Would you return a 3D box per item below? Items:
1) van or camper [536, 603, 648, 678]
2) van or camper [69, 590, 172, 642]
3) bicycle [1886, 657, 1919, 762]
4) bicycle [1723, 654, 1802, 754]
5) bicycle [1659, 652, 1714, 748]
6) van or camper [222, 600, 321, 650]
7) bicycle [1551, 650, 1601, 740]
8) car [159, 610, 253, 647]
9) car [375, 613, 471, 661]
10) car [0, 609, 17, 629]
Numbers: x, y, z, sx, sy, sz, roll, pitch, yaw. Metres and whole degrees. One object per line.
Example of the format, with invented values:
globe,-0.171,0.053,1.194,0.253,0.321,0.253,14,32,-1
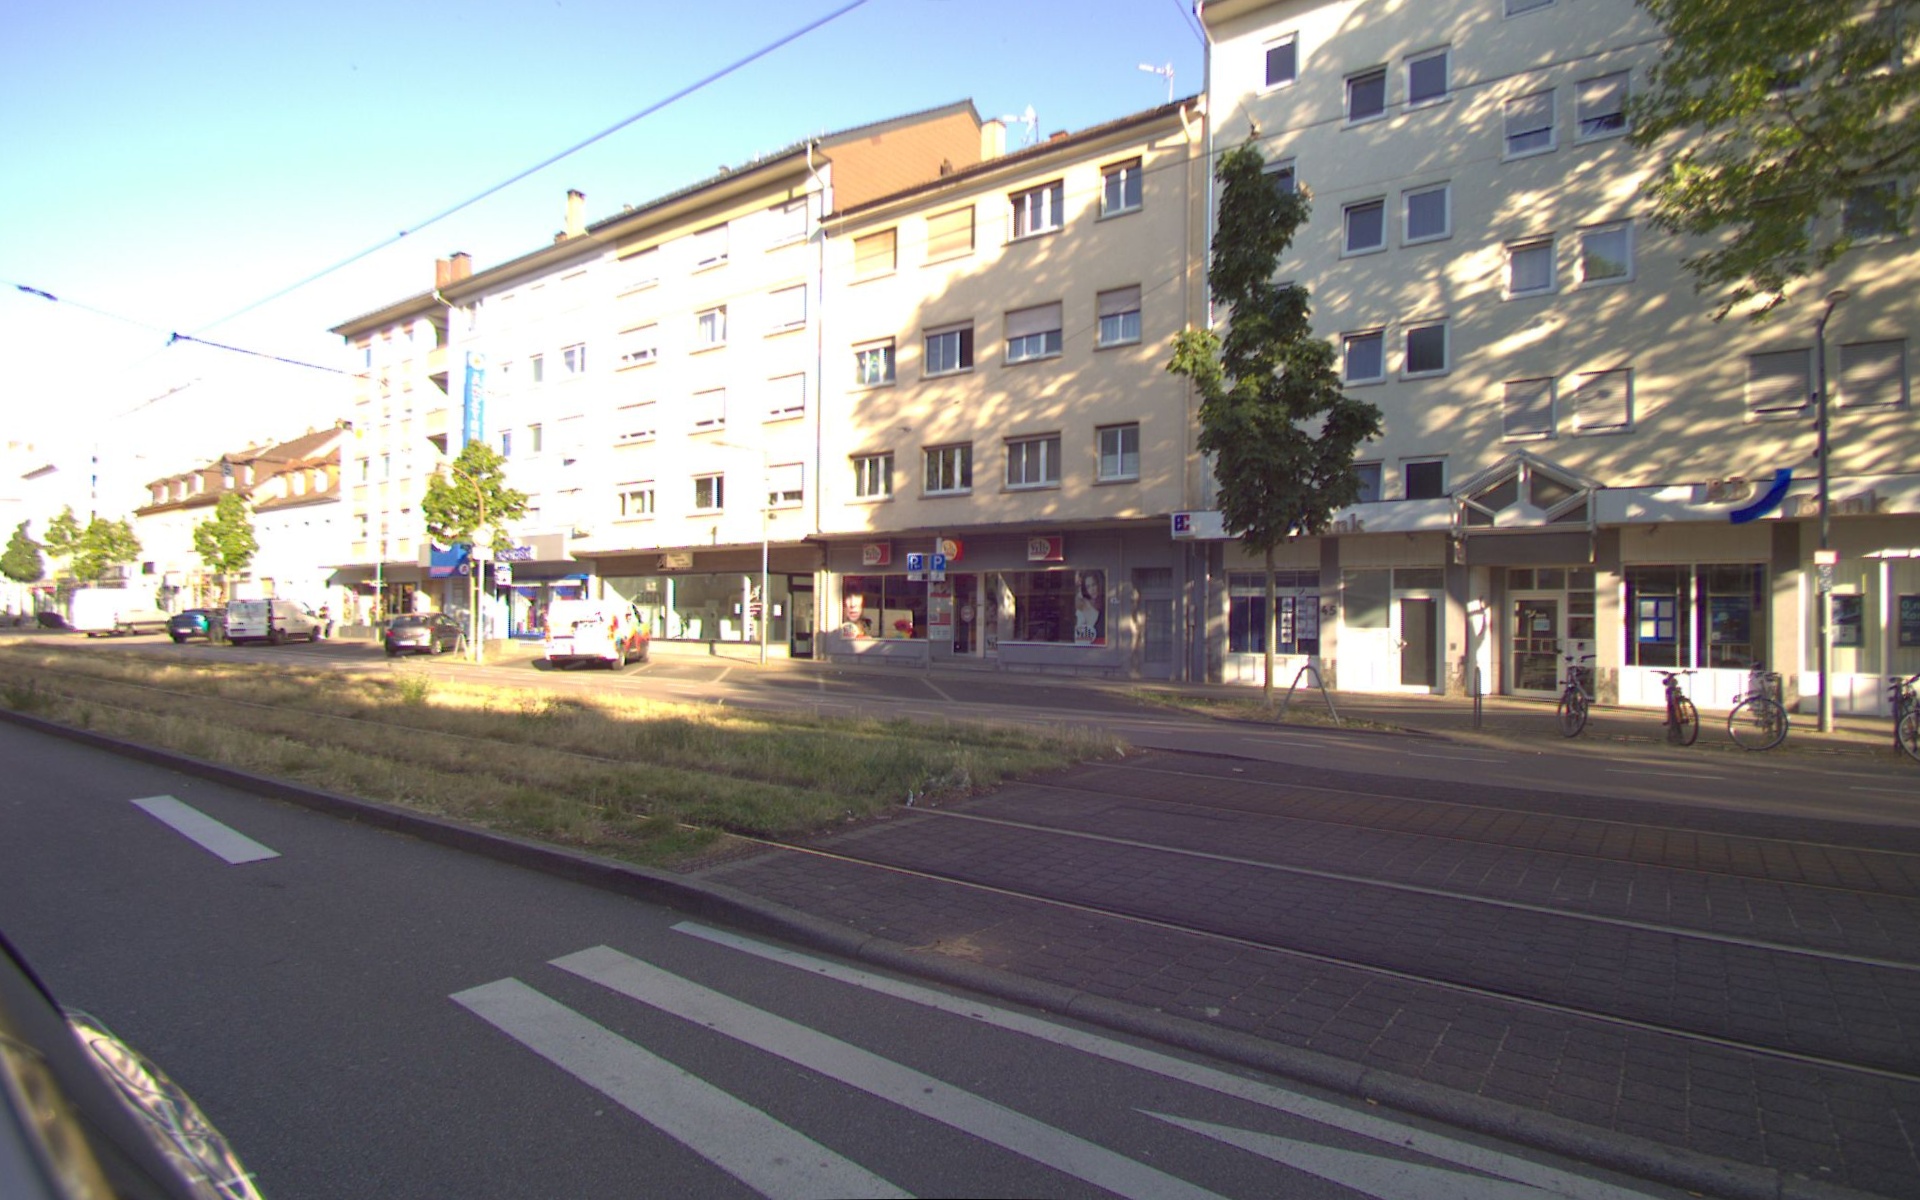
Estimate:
van or camper,-10.364,1.063,28.903,1.921,1.912,4.822,-1,0,-6
van or camper,-46.766,0.824,56.557,1.966,2.687,6.417,-1,0,-16
bicycle,11.912,1.313,12.320,0.650,1.133,1.878,-1,-1,34
bicycle,10.516,1.318,13.310,0.650,1.133,1.878,-1,-1,34
bicycle,9.865,1.316,13.778,0.533,1.133,1.878,-1,-1,34
van or camper,-29.989,1.046,44.238,1.771,2.004,4.459,-1,0,-8
bicycle,8.843,1.316,14.501,0.533,1.133,1.878,-1,-1,34
car,-35.710,1.316,48.082,1.850,1.598,4.006,-1,0,-7
car,-19.065,1.254,36.146,1.741,1.501,4.461,-1,0,-10
car,-74.708,1.509,77.100,1.752,1.501,3.899,-1,0,13
